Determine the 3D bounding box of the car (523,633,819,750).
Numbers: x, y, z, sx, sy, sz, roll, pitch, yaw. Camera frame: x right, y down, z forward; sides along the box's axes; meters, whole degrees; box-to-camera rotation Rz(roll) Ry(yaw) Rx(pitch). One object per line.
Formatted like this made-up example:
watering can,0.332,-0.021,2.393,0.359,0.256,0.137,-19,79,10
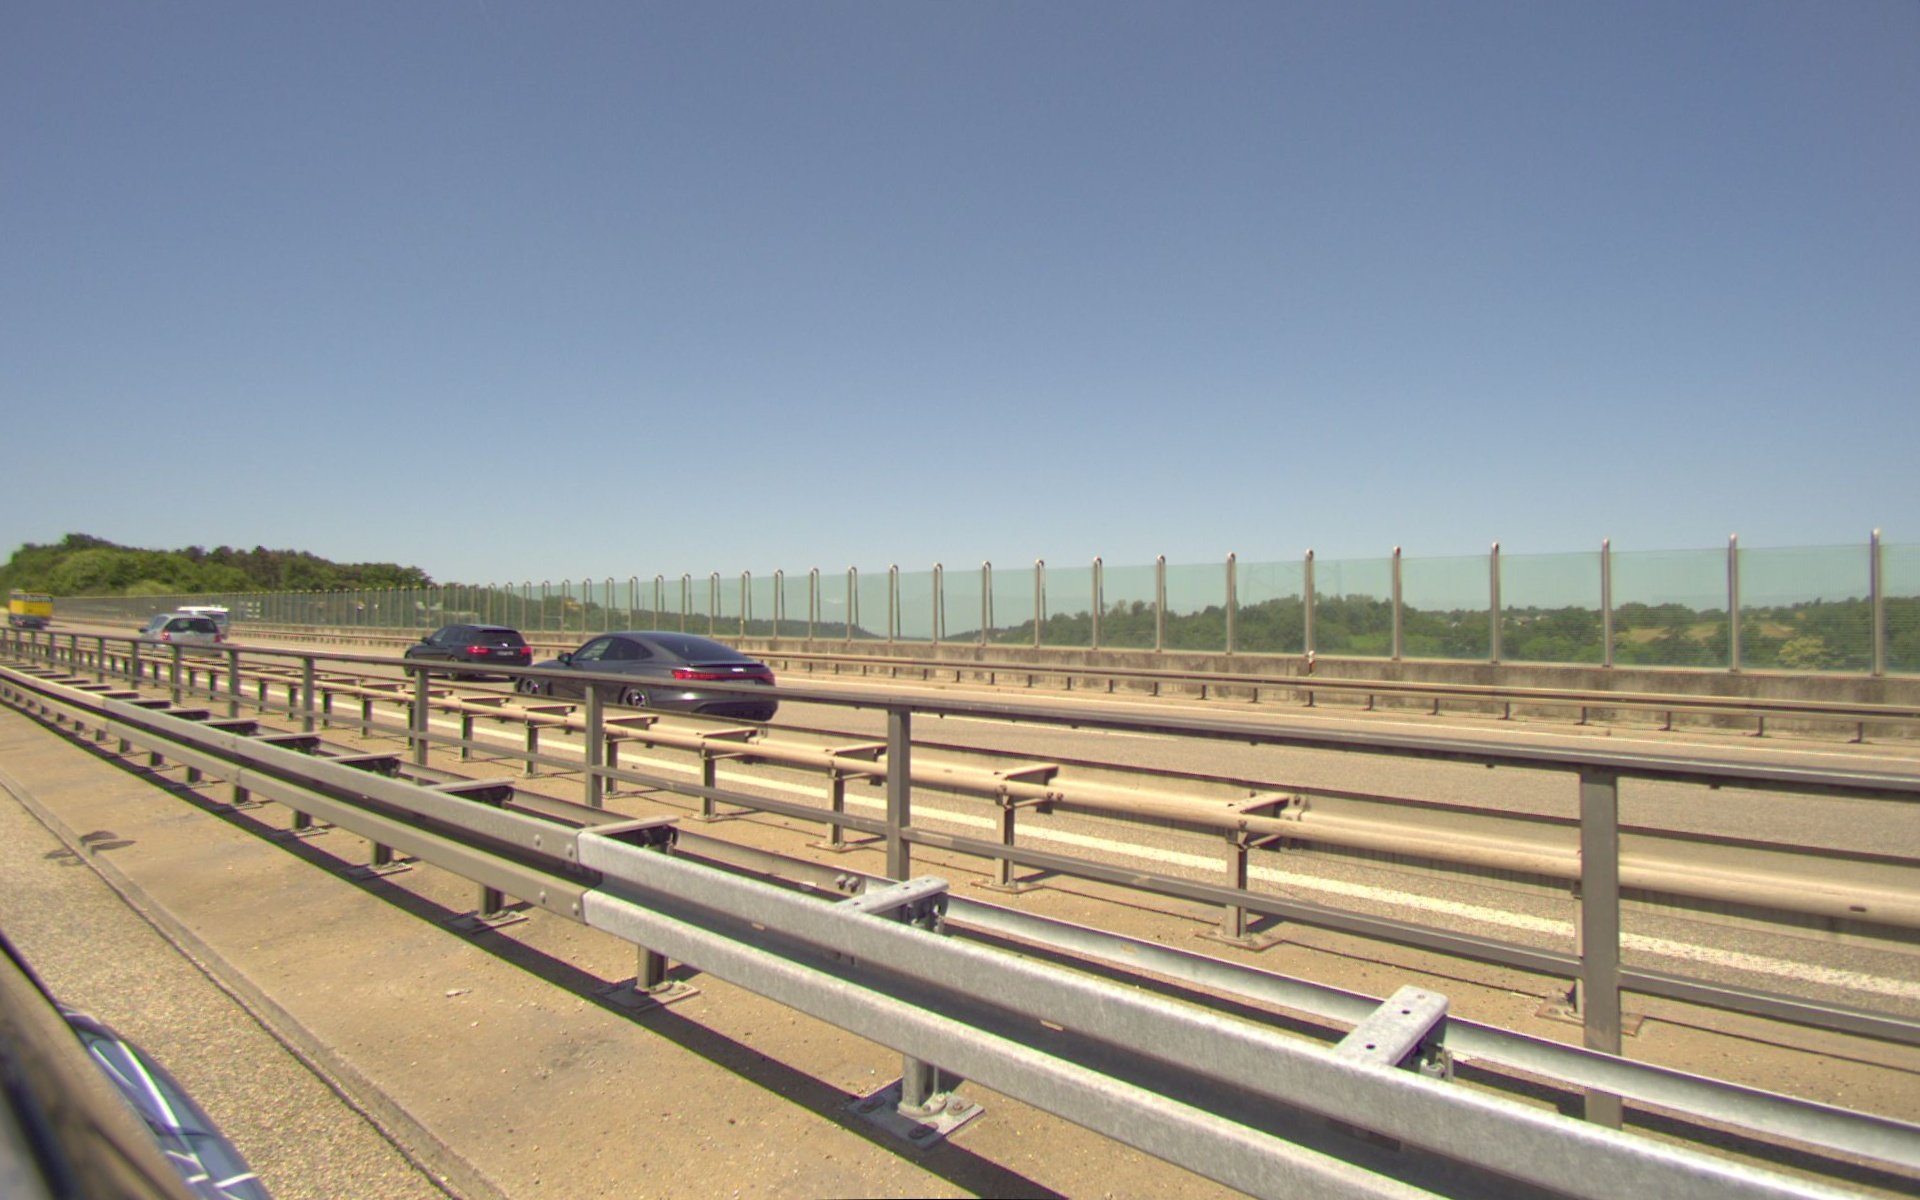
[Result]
car,-4.122,1.154,14.059,4.369,1.325,1.877,-1,-2,41

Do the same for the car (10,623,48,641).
car,-77.831,2.649,84.552,4.673,1.408,1.836,-1,-3,42

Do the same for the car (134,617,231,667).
car,-25.214,1.340,32.794,3.556,1.541,1.821,-1,-2,41

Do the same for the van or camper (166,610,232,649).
van or camper,-47.003,1.808,62.466,5.533,2.228,1.973,0,-3,41

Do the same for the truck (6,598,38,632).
truck,-115.929,1.882,125.017,5.543,4.089,2.388,0,-3,43

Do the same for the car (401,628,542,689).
car,-12.805,1.468,26.438,4.261,1.396,1.782,0,-2,41

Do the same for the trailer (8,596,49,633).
trailer,-110.707,1.753,120.154,13.800,4.094,2.396,-1,-3,43

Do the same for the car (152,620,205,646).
car,-50.716,2.121,65.644,4.198,1.557,1.837,0,-3,41
